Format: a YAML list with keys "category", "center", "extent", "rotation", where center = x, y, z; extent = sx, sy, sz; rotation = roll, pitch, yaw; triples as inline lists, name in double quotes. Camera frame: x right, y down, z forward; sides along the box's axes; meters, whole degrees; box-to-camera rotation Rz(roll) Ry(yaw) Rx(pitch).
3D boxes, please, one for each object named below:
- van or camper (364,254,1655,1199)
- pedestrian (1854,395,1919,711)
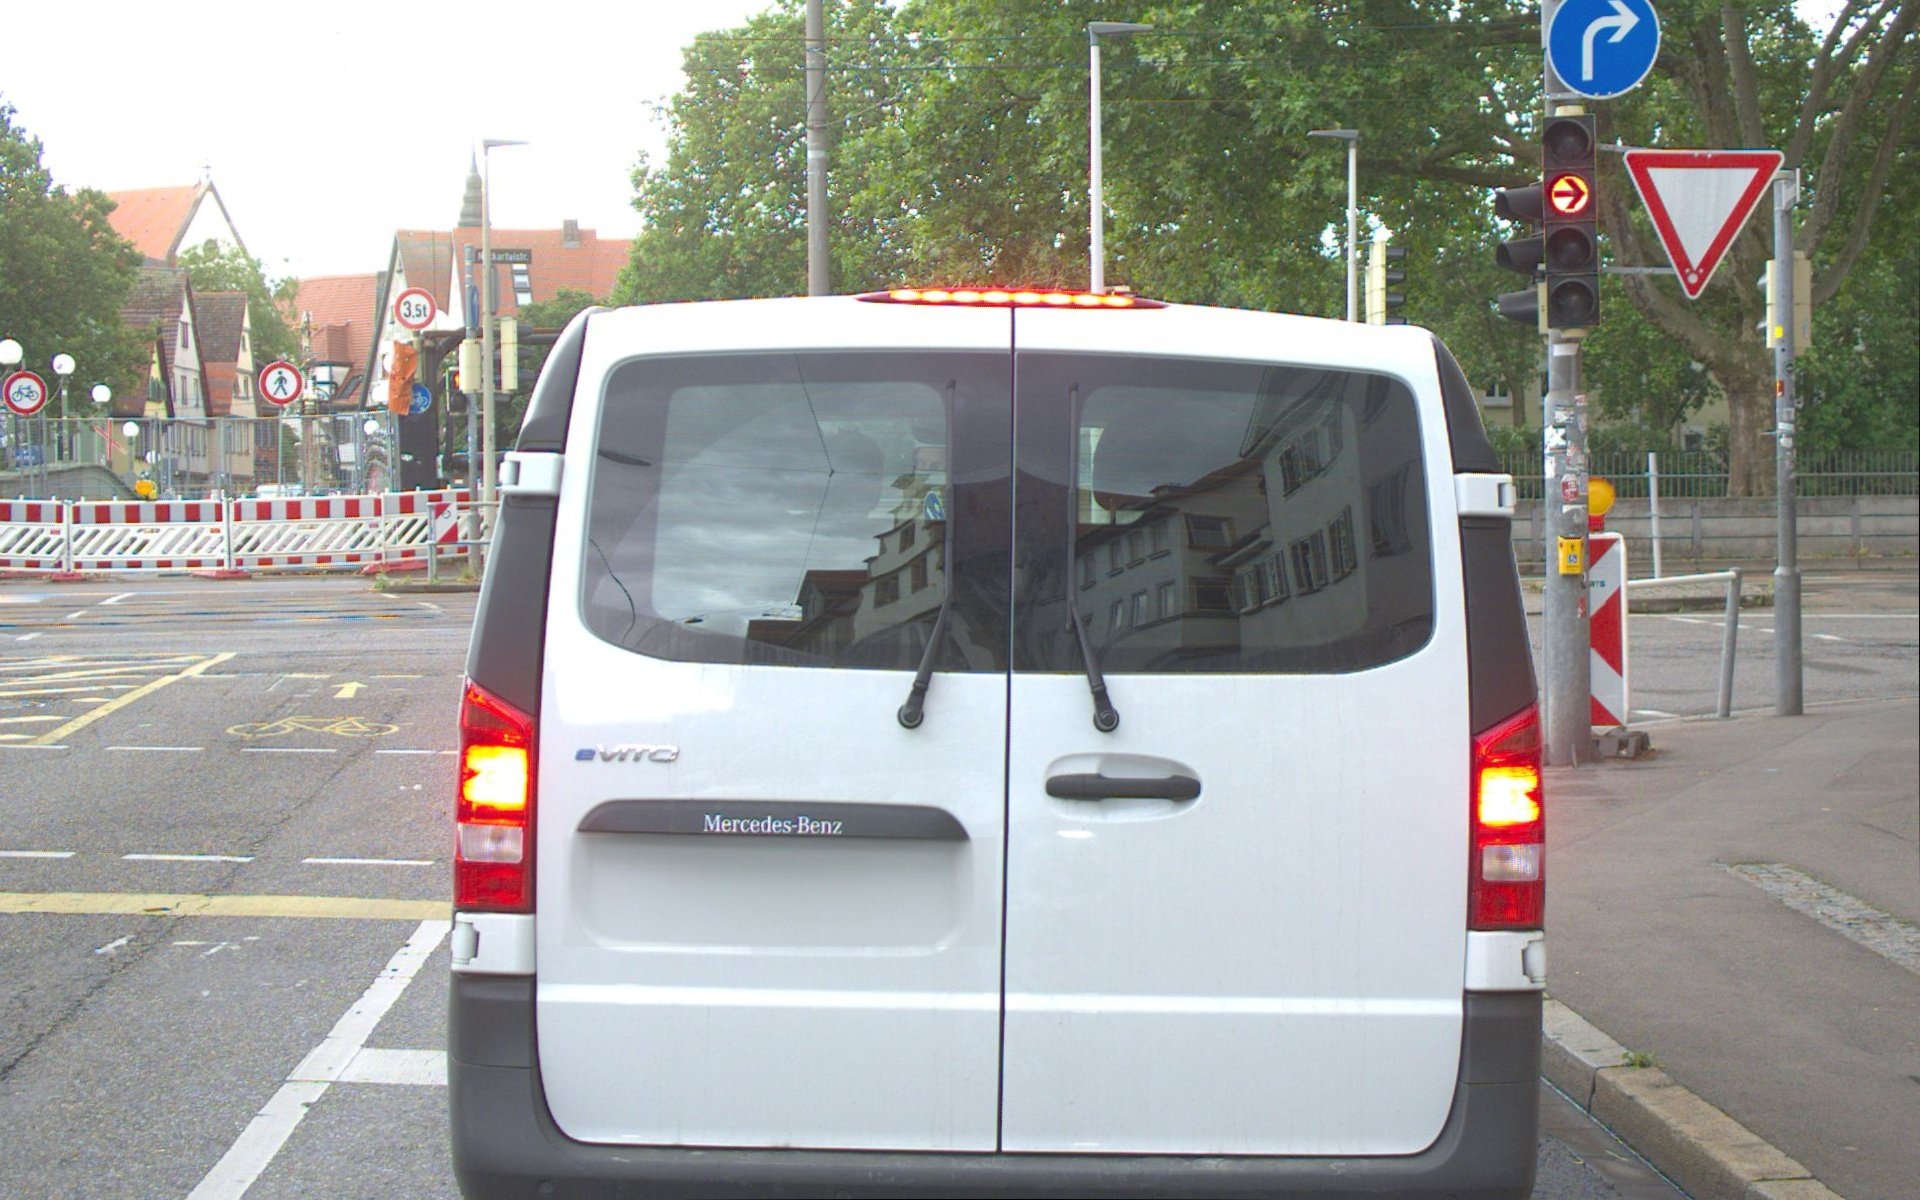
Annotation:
- category: "van or camper"
  center: [-0.064, 0.344, 7.430]
  extent: [1.937, 1.918, 4.442]
  rotation: [1, 3, -4]
- category: "pedestrian"
  center: [6.021, -0.300, 20.502]
  extent: [1.149, 1.850, 0.679]
  rotation: [-3, 2, -30]
